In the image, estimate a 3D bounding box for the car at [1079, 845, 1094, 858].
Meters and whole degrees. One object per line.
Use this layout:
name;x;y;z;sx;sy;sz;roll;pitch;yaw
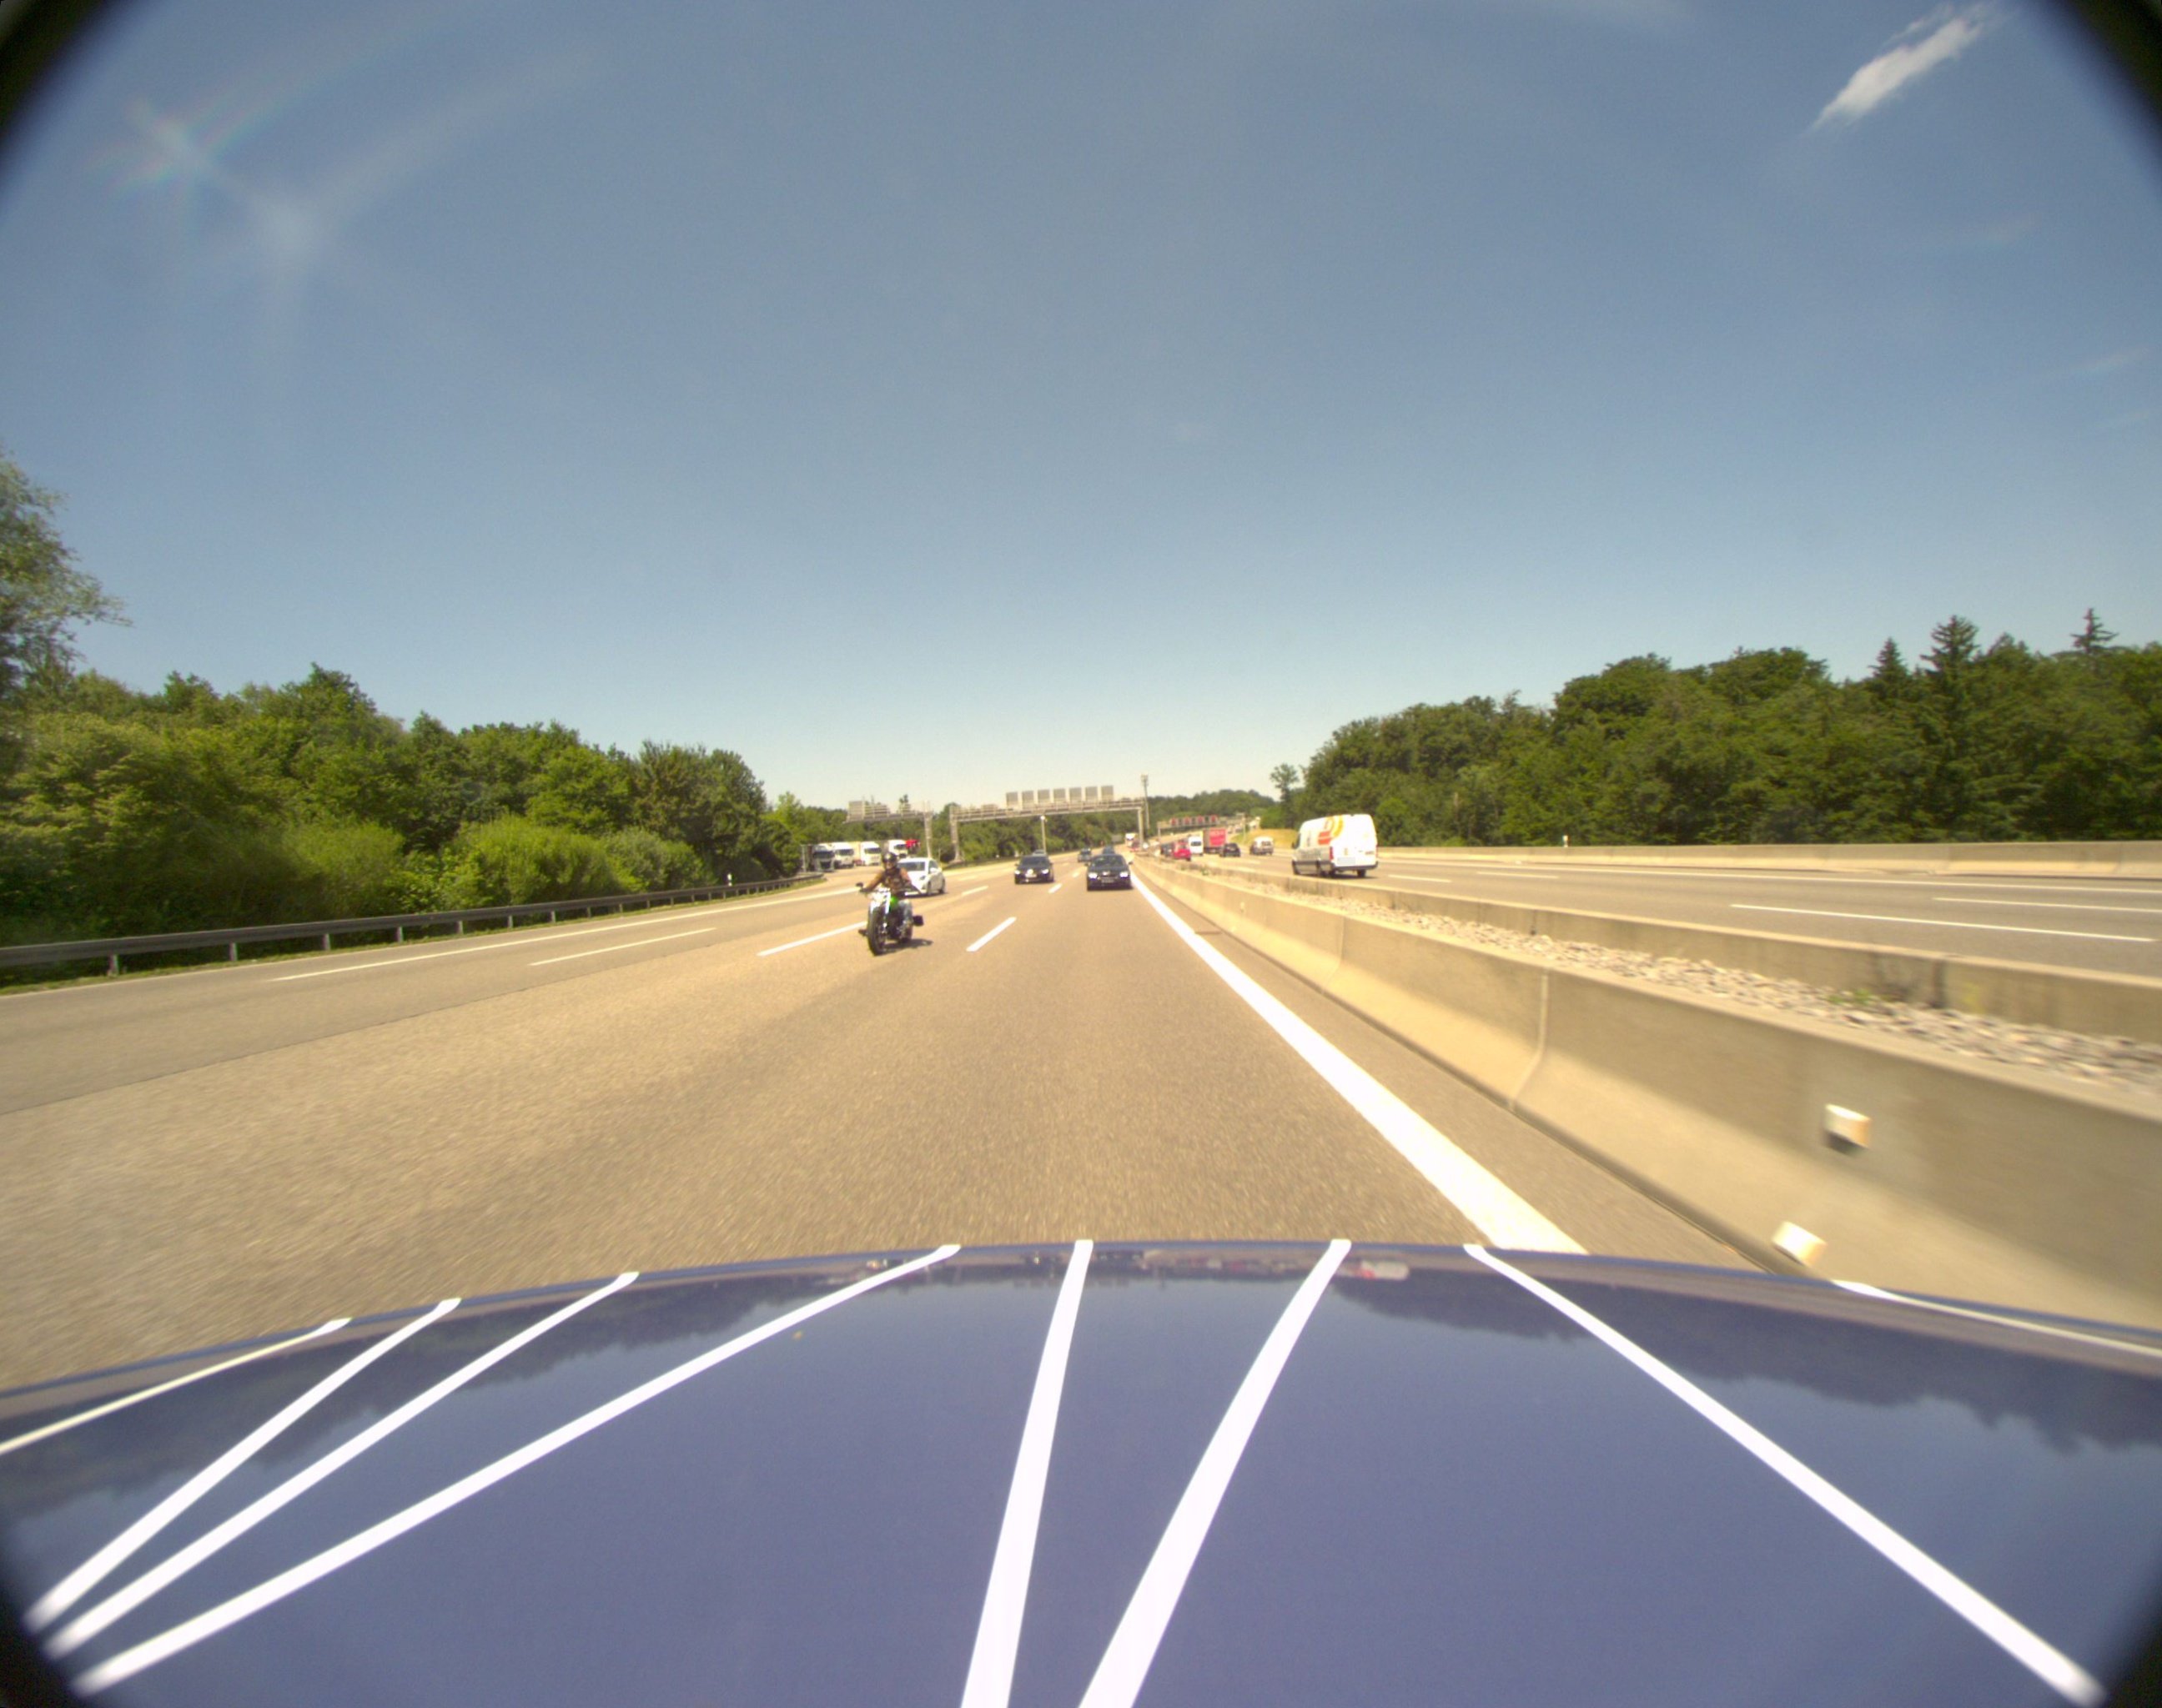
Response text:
car;0.741;-0.333;95.273;1.729;1.521;3.740;-2;2;2

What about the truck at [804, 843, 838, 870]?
truck;-37.012;0.368;107.923;2.497;3.591;6.309;-6;3;-37

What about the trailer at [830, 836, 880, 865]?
trailer;-39.282;-0.591;131.665;3.287;4.682;12.025;-6;4;-41

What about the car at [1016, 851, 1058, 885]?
car;-2.255;0.689;39.600;1.760;1.431;3.999;-2;2;2

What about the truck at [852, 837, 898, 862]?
truck;-38.600;-0.804;141.926;2.836;4.436;12.028;-6;4;-43

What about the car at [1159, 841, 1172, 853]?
car;13.847;-1.206;125.044;1.998;1.714;5.196;-3;1;5

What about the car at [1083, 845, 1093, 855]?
car;1.530;-1.030;173.654;1.998;2.003;3.999;-3;3;3

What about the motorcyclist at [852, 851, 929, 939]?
motorcyclist;-3.222;0.675;12.941;0.854;1.419;1.024;-1;2;12

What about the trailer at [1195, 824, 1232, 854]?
trailer;20.730;-2.407;120.134;3.844;4.255;14.475;-3;1;3

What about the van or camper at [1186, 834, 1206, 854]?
van or camper;16.102;-1.426;106.787;2.104;2.551;6.400;-2;1;3

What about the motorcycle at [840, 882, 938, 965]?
motorcycle;-3.194;1.128;12.946;0.536;1.129;2.438;-1;1;12

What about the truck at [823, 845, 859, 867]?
truck;-37.921;0.297;119.767;2.458;3.108;9.004;-5;3;-35

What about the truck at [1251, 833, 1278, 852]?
truck;23.271;-1.505;96.747;2.051;2.241;8.824;-3;1;5

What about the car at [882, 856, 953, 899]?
car;-6.437;0.873;30.436;1.754;1.510;4.483;-2;0;1

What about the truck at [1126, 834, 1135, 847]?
truck;15.748;-4.281;239.553;2.434;3.458;7.022;-3;3;6

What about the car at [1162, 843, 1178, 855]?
car;12.198;-0.718;104.219;1.773;1.501;4.823;-3;1;3

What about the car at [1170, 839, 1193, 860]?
car;10.395;-0.518;78.783;1.911;1.971;4.640;-3;1;2

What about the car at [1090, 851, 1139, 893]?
car;1.300;0.658;30.690;1.769;1.496;4.000;-3;0;1

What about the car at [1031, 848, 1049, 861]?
car;-5.655;0.079;106.038;1.998;1.521;3.999;-2;2;3

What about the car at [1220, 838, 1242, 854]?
car;17.795;-0.987;90.275;1.998;1.752;5.070;-2;1;4

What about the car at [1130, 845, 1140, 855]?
car;11.896;-0.923;166.531;1.998;2.002;4.001;-3;1;5

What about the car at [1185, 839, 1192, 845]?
car;33.292;-3.690;235.456;1.758;1.625;4.639;-2;0;4

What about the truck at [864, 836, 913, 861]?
truck;-37.720;-0.962;148.367;2.837;4.434;14.603;-3;1;-41

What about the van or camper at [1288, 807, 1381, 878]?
van or camper;11.258;-0.505;34.400;1.998;2.783;7.415;-2;0;3

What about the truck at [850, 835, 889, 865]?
truck;-35.504;-0.675;127.457;3.272;4.698;7.169;-6;4;-41

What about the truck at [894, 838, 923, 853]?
truck;-36.717;-1.799;161.281;2.003;2.933;8.724;-6;4;-41
